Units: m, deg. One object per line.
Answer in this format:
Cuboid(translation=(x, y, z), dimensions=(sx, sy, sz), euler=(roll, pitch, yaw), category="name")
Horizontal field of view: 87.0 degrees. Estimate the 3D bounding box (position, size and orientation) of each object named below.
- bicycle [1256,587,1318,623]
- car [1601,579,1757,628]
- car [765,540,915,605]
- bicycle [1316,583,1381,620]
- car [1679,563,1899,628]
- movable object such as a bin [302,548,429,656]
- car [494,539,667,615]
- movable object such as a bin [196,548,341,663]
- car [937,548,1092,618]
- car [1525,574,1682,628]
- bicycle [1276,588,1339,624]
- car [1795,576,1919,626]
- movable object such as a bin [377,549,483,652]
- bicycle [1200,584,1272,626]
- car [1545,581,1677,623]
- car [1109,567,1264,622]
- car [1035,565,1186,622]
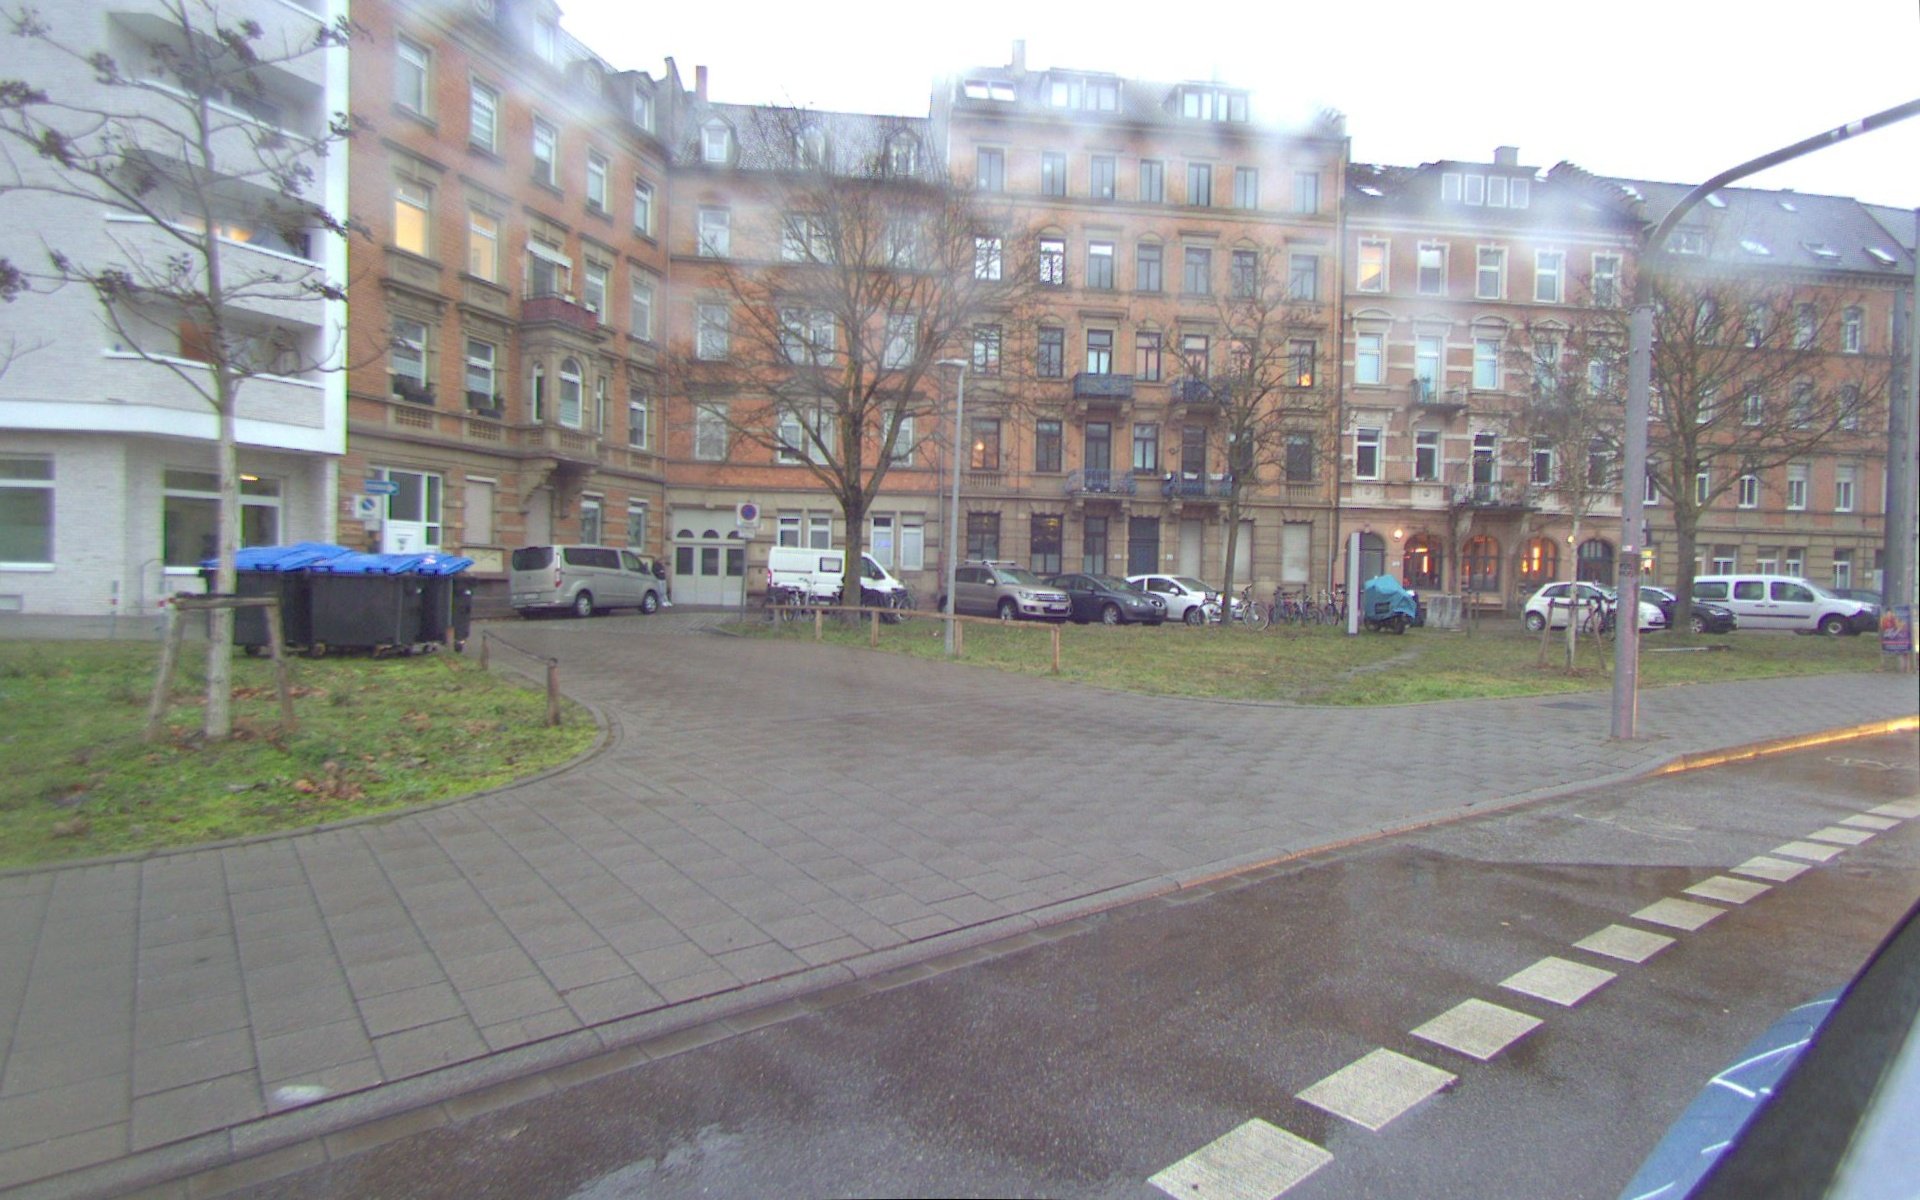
Cuboid(translation=(9.399, 0.142, 29.176), dimensions=(0.613, 0.978, 2.175), euler=(3, -1, -13), category="bicycle")
Cuboid(translation=(21.031, 0.079, 29.698), dimensions=(1.634, 1.368, 3.430), euler=(1, 0, -39), category="car")
Cuboid(translation=(-4.094, -0.945, 34.487), dimensions=(4.885, 2.038, 2.004), euler=(1, 2, -7), category="car")
Cuboid(translation=(11.241, 0.020, 29.372), dimensions=(0.613, 0.978, 2.176), euler=(1, 2, -13), category="bicycle")
Cuboid(translation=(24.118, -0.187, 29.624), dimensions=(1.745, 1.611, 4.663), euler=(0, 3, -37), category="car")
Cuboid(translation=(-8.298, 0.009, 14.190), dimensions=(1.200, 1.433, 1.018), euler=(1, 2, -3), category="movable object such as a bin")
Cuboid(translation=(-10.543, -0.558, 28.537), dimensions=(1.976, 1.943, 4.715), euler=(-1, -1, 21), category="car")
Cuboid(translation=(-9.565, 0.063, 14.056), dimensions=(1.303, 1.514, 1.032), euler=(1, 1, -3), category="movable object such as a bin")
Cuboid(translation=(1.349, -0.500, 26.451), dimensions=(1.908, 1.656, 4.000), euler=(-1, 3, -37), category="car")
Cuboid(translation=(18.357, 0.033, 28.985), dimensions=(1.583, 1.461, 3.467), euler=(1, 0, -34), category="car")
Cuboid(translation=(10.053, 0.168, 29.352), dimensions=(0.613, 0.978, 2.175), euler=(3, -1, -13), category="bicycle")
Cuboid(translation=(27.155, 0.062, 29.448), dimensions=(1.737, 1.250, 4.066), euler=(2, 3, -35), category="car")
Cuboid(translation=(-8.021, 0.015, 15.351), dimensions=(1.022, 1.509, 1.035), euler=(0, -1, 6), category="movable object such as a bin")
Cuboid(translation=(6.635, 0.108, 24.421), dimensions=(1.628, 0.948, 0.512), euler=(2, 1, 15), category="bicycle")
Cuboid(translation=(24.240, 0.095, 37.739), dimensions=(3.967, 1.520, 1.740), euler=(1, -1, -9), category="car")
Cuboid(translation=(6.101, -0.184, 27.550), dimensions=(1.669, 1.353, 3.852), euler=(0, 1, -42), category="car")
Cuboid(translation=(3.892, -0.165, 26.639), dimensions=(1.649, 1.372, 3.737), euler=(2, 0, -42), category="car")
